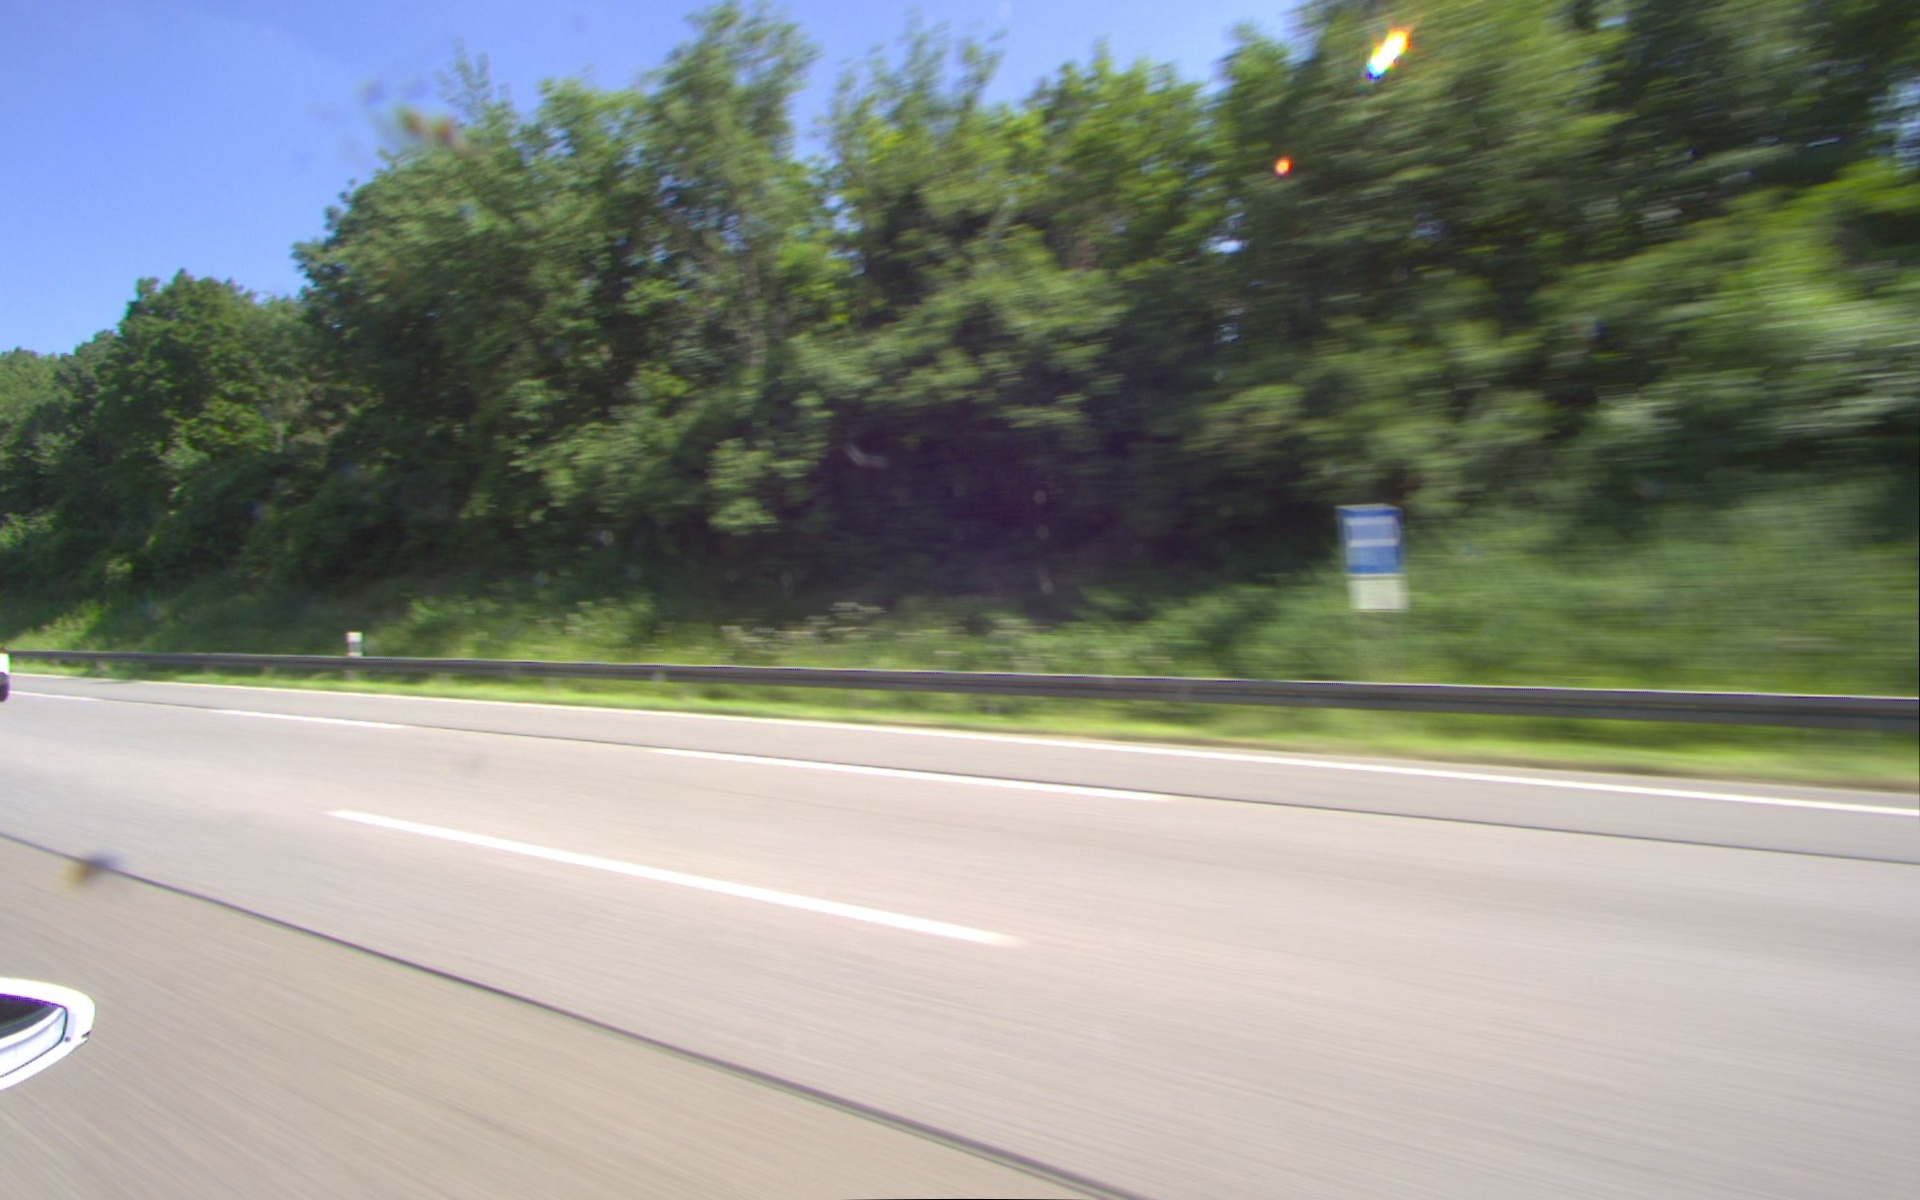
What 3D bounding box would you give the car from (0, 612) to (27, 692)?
[{"bbox_3d":[-21.039,1.048,20.523,3.978,1.588,1.840,-1,-2,32],"label":"car"}]
